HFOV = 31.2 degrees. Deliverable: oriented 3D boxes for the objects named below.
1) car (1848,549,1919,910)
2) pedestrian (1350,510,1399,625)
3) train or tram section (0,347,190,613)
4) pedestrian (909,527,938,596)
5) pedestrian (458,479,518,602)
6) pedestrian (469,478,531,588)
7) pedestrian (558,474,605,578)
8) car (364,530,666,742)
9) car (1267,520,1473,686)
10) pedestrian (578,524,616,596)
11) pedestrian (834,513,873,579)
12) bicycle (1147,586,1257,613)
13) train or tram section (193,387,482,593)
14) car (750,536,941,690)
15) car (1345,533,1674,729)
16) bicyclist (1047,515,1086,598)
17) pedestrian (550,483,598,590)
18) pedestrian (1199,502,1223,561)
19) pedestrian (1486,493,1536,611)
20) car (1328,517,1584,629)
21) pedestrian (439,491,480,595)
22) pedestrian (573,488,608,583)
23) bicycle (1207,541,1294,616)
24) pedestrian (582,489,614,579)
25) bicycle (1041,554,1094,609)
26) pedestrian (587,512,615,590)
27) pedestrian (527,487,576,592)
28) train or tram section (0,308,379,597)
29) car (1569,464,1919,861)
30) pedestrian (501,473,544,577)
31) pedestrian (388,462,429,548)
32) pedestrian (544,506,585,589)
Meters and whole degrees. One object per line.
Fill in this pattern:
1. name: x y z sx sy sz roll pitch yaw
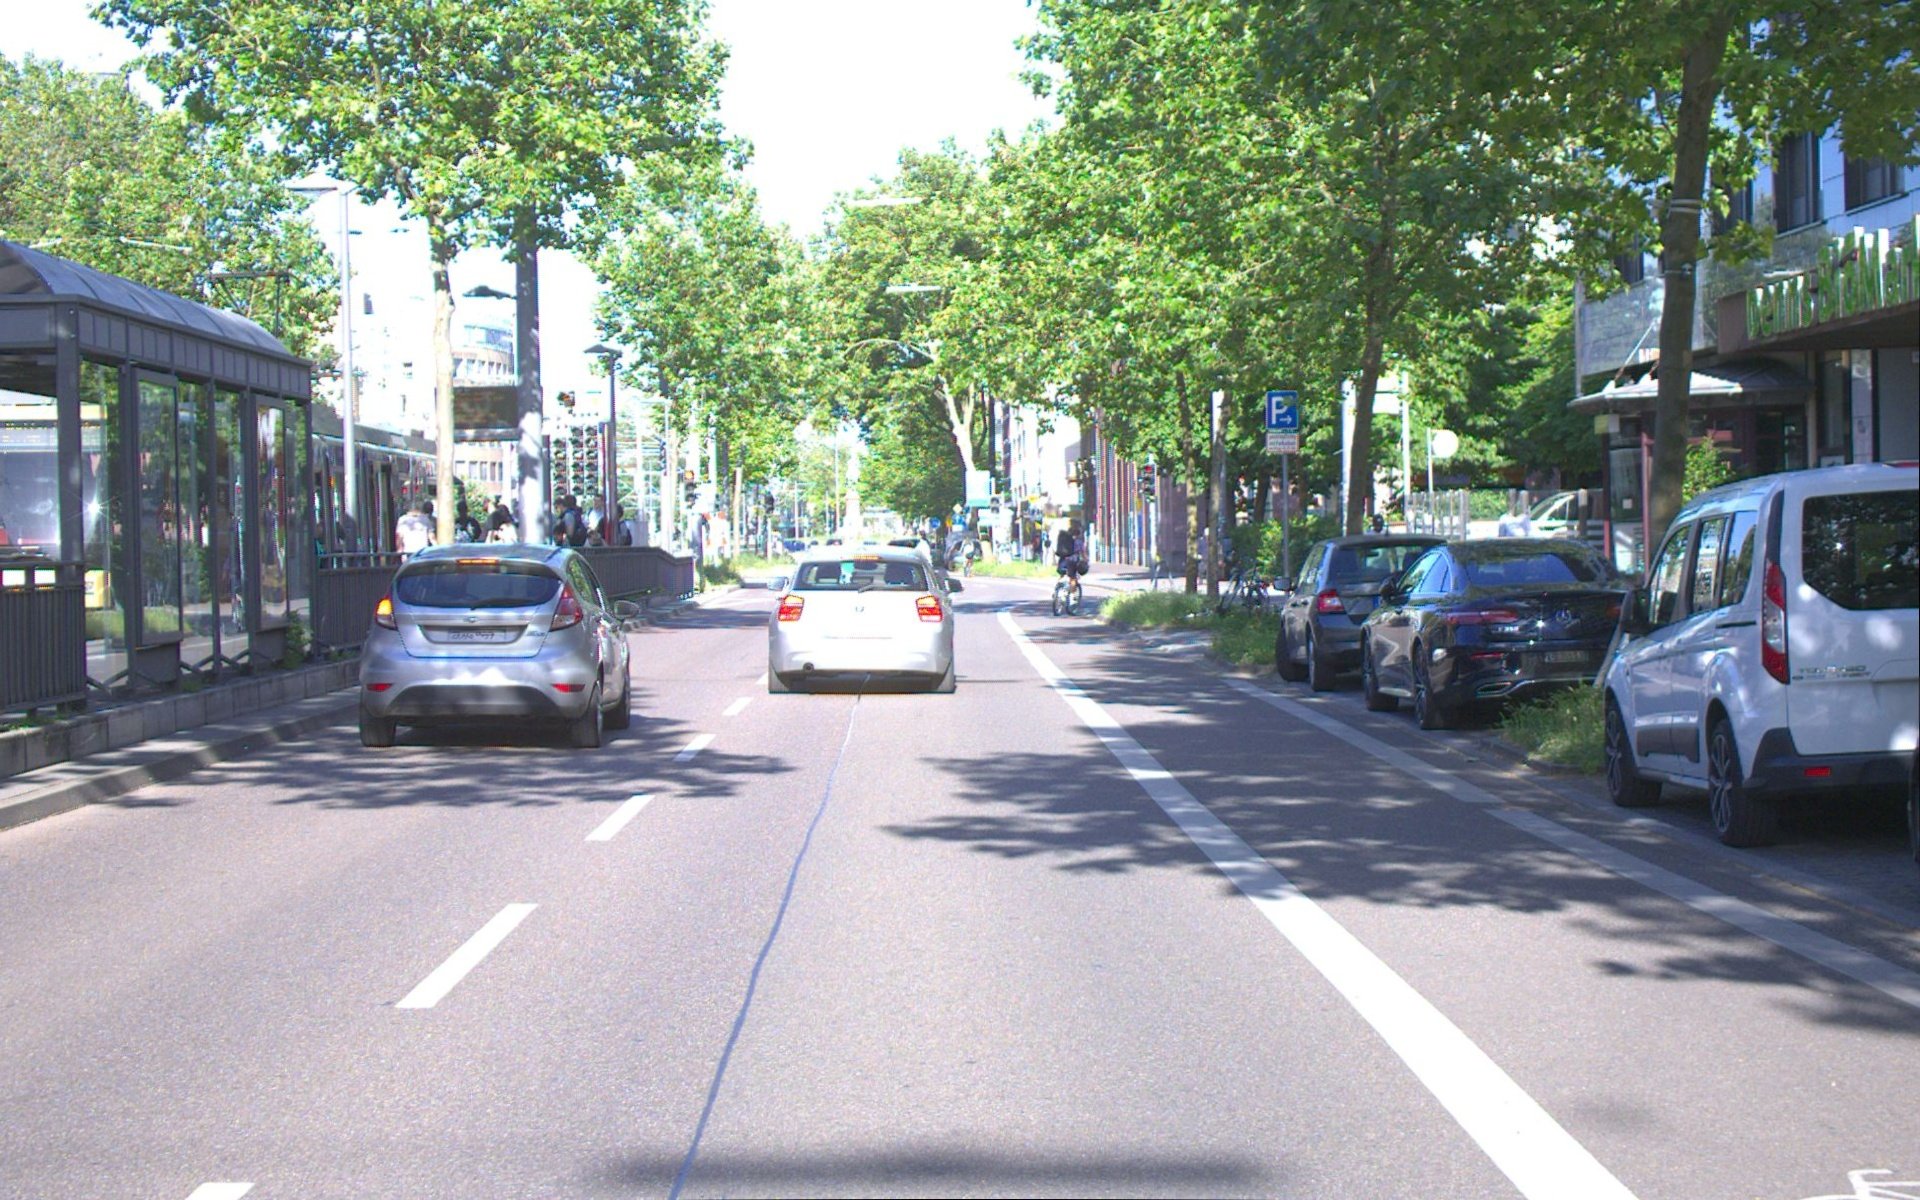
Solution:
1. car: 4.631 0.511 12.188 1.728 1.398 4.296 -2 1 -1
2. pedestrian: 6.224 -0.497 51.630 0.560 1.698 1.052 -2 1 -1
3. train or tram section: -13.809 -1.602 46.411 2.849 3.422 18.216 0 1 0
4. pedestrian: -0.863 -0.908 81.598 0.639 1.614 0.642 -1 -1 -1
5. pedestrian: -6.821 -0.866 49.707 0.775 1.746 0.723 -2 1 -4
6. pedestrian: -6.458 -0.943 48.327 0.775 1.504 0.752 -2 1 -4
7. pedestrian: -6.220 -1.217 56.526 0.660 1.690 0.571 -1 1 1
8. car: -3.246 0.211 25.728 1.730 1.385 3.840 1 2 0
9. car: 4.044 -0.013 34.381 1.565 1.545 4.000 -1 1 0
10. pedestrian: -6.049 -0.671 57.308 0.545 1.188 0.531 -1 1 -1
11. pedestrian: -2.556 -1.295 82.884 0.830 1.570 0.739 0 1 7
12. bicycle: 3.771 -0.009 53.792 1.608 0.352 1.389 -1 1 0
13. train or tram section: -10.876 -1.794 61.617 2.914 3.249 13.114 1 0 -1
14. car: -1.061 0.092 33.409 1.660 1.404 3.632 0 1 1
15. car: 4.258 0.181 27.345 1.761 1.413 4.701 0 1 -1
16. bicyclist: 2.133 -0.876 68.841 0.658 1.651 0.764 -1 1 8
17. pedestrian: -6.196 -1.020 55.252 0.660 1.690 0.571 -1 1 1
18. pedestrian: 6.977 -1.903 95.545 0.627 1.623 0.943 0 1 8
19. pedestrian: 8.305 -0.728 51.840 0.560 1.738 0.879 -2 1 -1
20. car: 10.217 -0.567 71.054 4.897 1.978 1.913 -3 1 0
21. pedestrian: -8.271 -0.936 56.822 0.608 1.696 0.546 -1 1 -4
22. pedestrian: -6.767 -1.180 62.958 0.548 1.728 0.540 -1 1 -2
23. bicycle: 4.474 -0.340 53.071 0.788 1.129 1.847 -2 1 -13
24. pedestrian: -6.972 -1.271 66.204 0.547 1.728 0.540 -1 1 -4
25. bicycle: 2.175 -0.376 69.112 0.832 1.038 1.874 -1 1 8
26. pedestrian: -6.097 -0.835 58.410 0.415 1.311 0.507 -1 1 -2
27. pedestrian: -6.471 -0.961 54.473 0.660 1.628 0.571 -1 1 1
28. train or tram section: -10.683 -1.723 47.076 2.914 3.249 15.894 1 0 -1
29. car: 4.464 0.212 17.843 1.764 1.785 4.393 -2 2 0
30. pedestrian: -7.293 -1.251 57.346 0.632 1.696 0.747 -1 1 -4
31. pedestrian: -8.445 -1.453 52.634 0.534 1.295 0.604 -2 1 -4
32. pedestrian: -5.969 -0.793 51.929 0.534 1.242 0.604 -2 1 -2
